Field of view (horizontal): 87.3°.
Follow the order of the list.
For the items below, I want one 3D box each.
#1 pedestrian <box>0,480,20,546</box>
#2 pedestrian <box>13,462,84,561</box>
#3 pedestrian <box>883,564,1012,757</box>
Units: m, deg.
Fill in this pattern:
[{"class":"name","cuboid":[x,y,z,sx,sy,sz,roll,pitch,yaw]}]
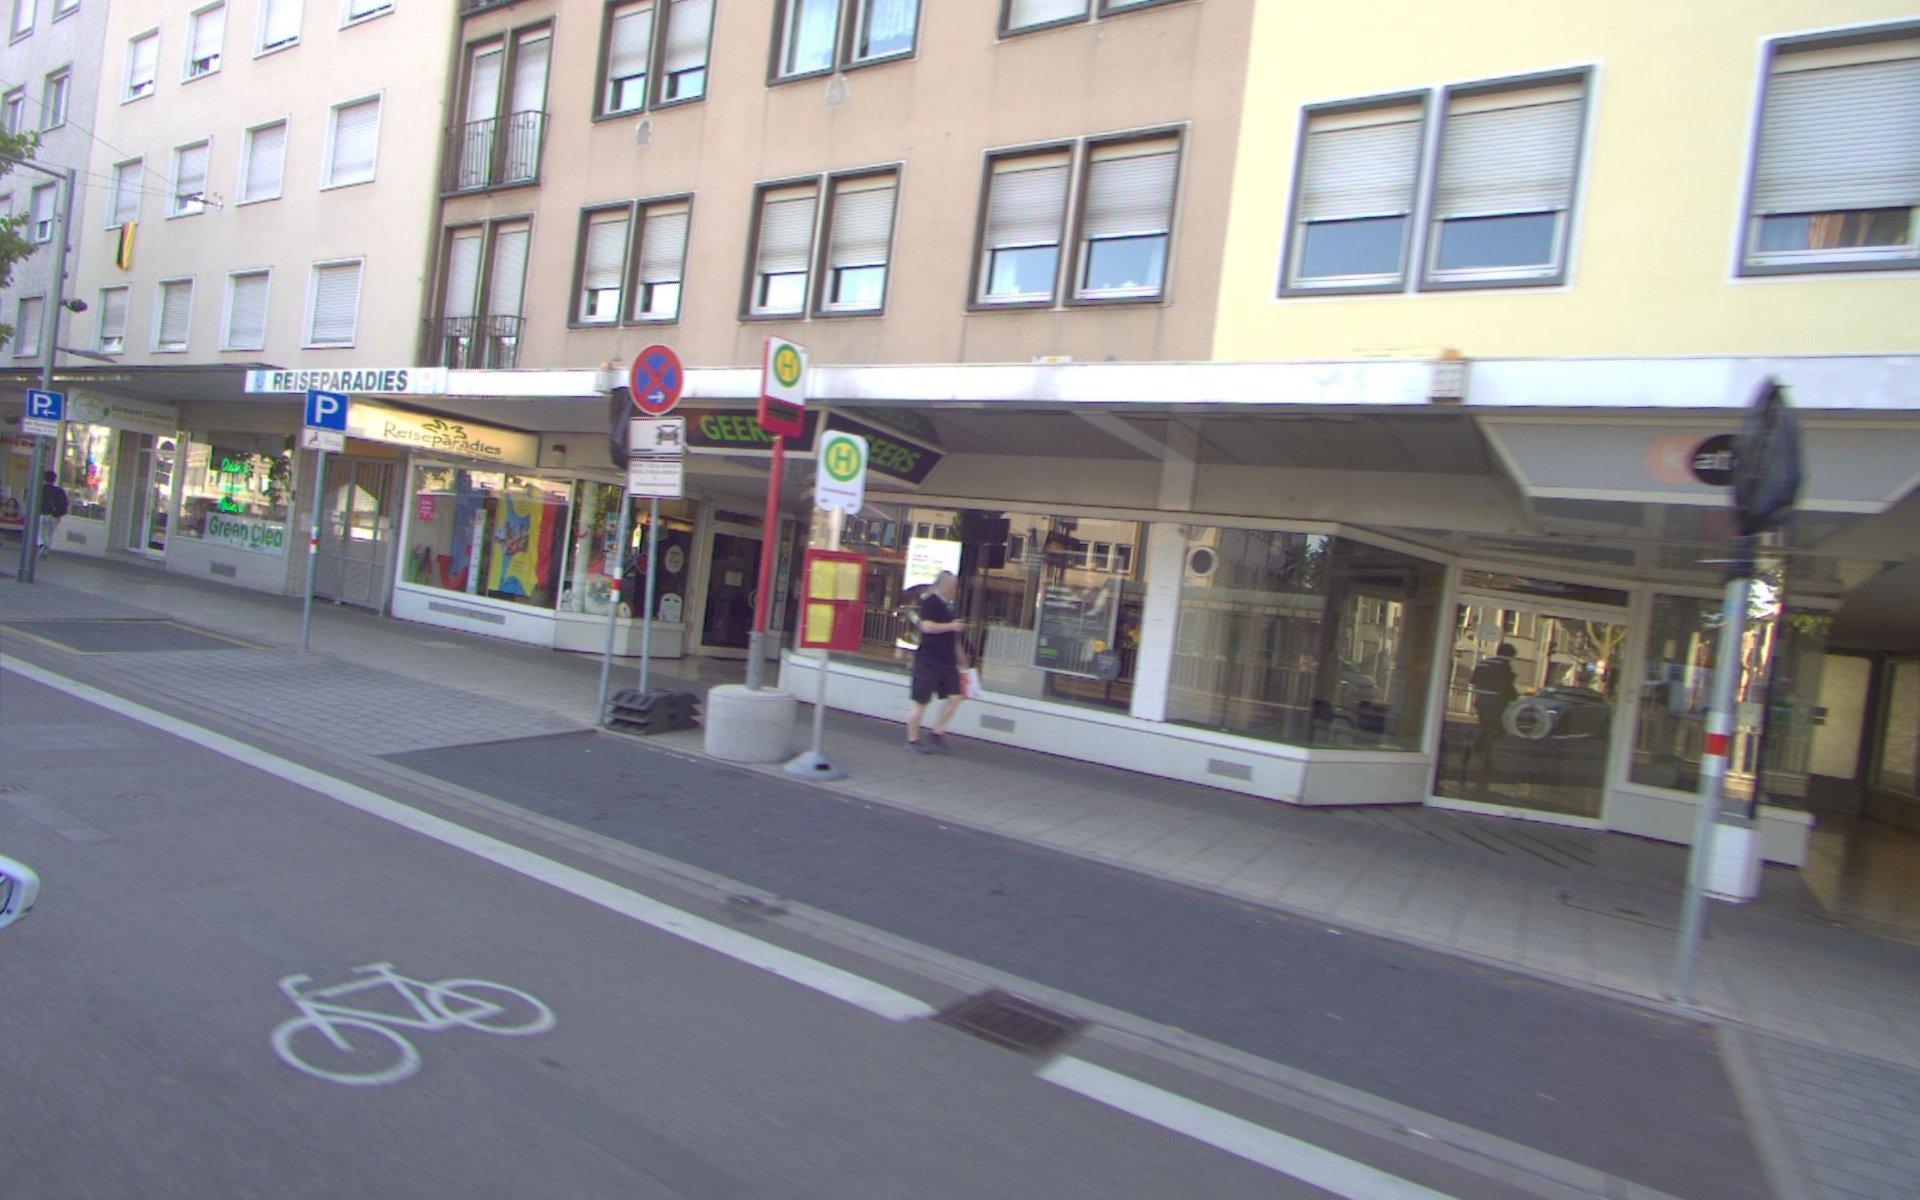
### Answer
[{"class":"pedestrian","cuboid":[-21.234,-1.952,22.204,0.601,1.412,0.475,7,1,31]},{"class":"pedestrian","cuboid":[-18.012,-1.751,19.880,0.754,1.818,0.724,7,1,31]},{"class":"pedestrian","cuboid":[-0.107,0.551,9.346,0.754,1.653,0.724,7,1,31]}]
